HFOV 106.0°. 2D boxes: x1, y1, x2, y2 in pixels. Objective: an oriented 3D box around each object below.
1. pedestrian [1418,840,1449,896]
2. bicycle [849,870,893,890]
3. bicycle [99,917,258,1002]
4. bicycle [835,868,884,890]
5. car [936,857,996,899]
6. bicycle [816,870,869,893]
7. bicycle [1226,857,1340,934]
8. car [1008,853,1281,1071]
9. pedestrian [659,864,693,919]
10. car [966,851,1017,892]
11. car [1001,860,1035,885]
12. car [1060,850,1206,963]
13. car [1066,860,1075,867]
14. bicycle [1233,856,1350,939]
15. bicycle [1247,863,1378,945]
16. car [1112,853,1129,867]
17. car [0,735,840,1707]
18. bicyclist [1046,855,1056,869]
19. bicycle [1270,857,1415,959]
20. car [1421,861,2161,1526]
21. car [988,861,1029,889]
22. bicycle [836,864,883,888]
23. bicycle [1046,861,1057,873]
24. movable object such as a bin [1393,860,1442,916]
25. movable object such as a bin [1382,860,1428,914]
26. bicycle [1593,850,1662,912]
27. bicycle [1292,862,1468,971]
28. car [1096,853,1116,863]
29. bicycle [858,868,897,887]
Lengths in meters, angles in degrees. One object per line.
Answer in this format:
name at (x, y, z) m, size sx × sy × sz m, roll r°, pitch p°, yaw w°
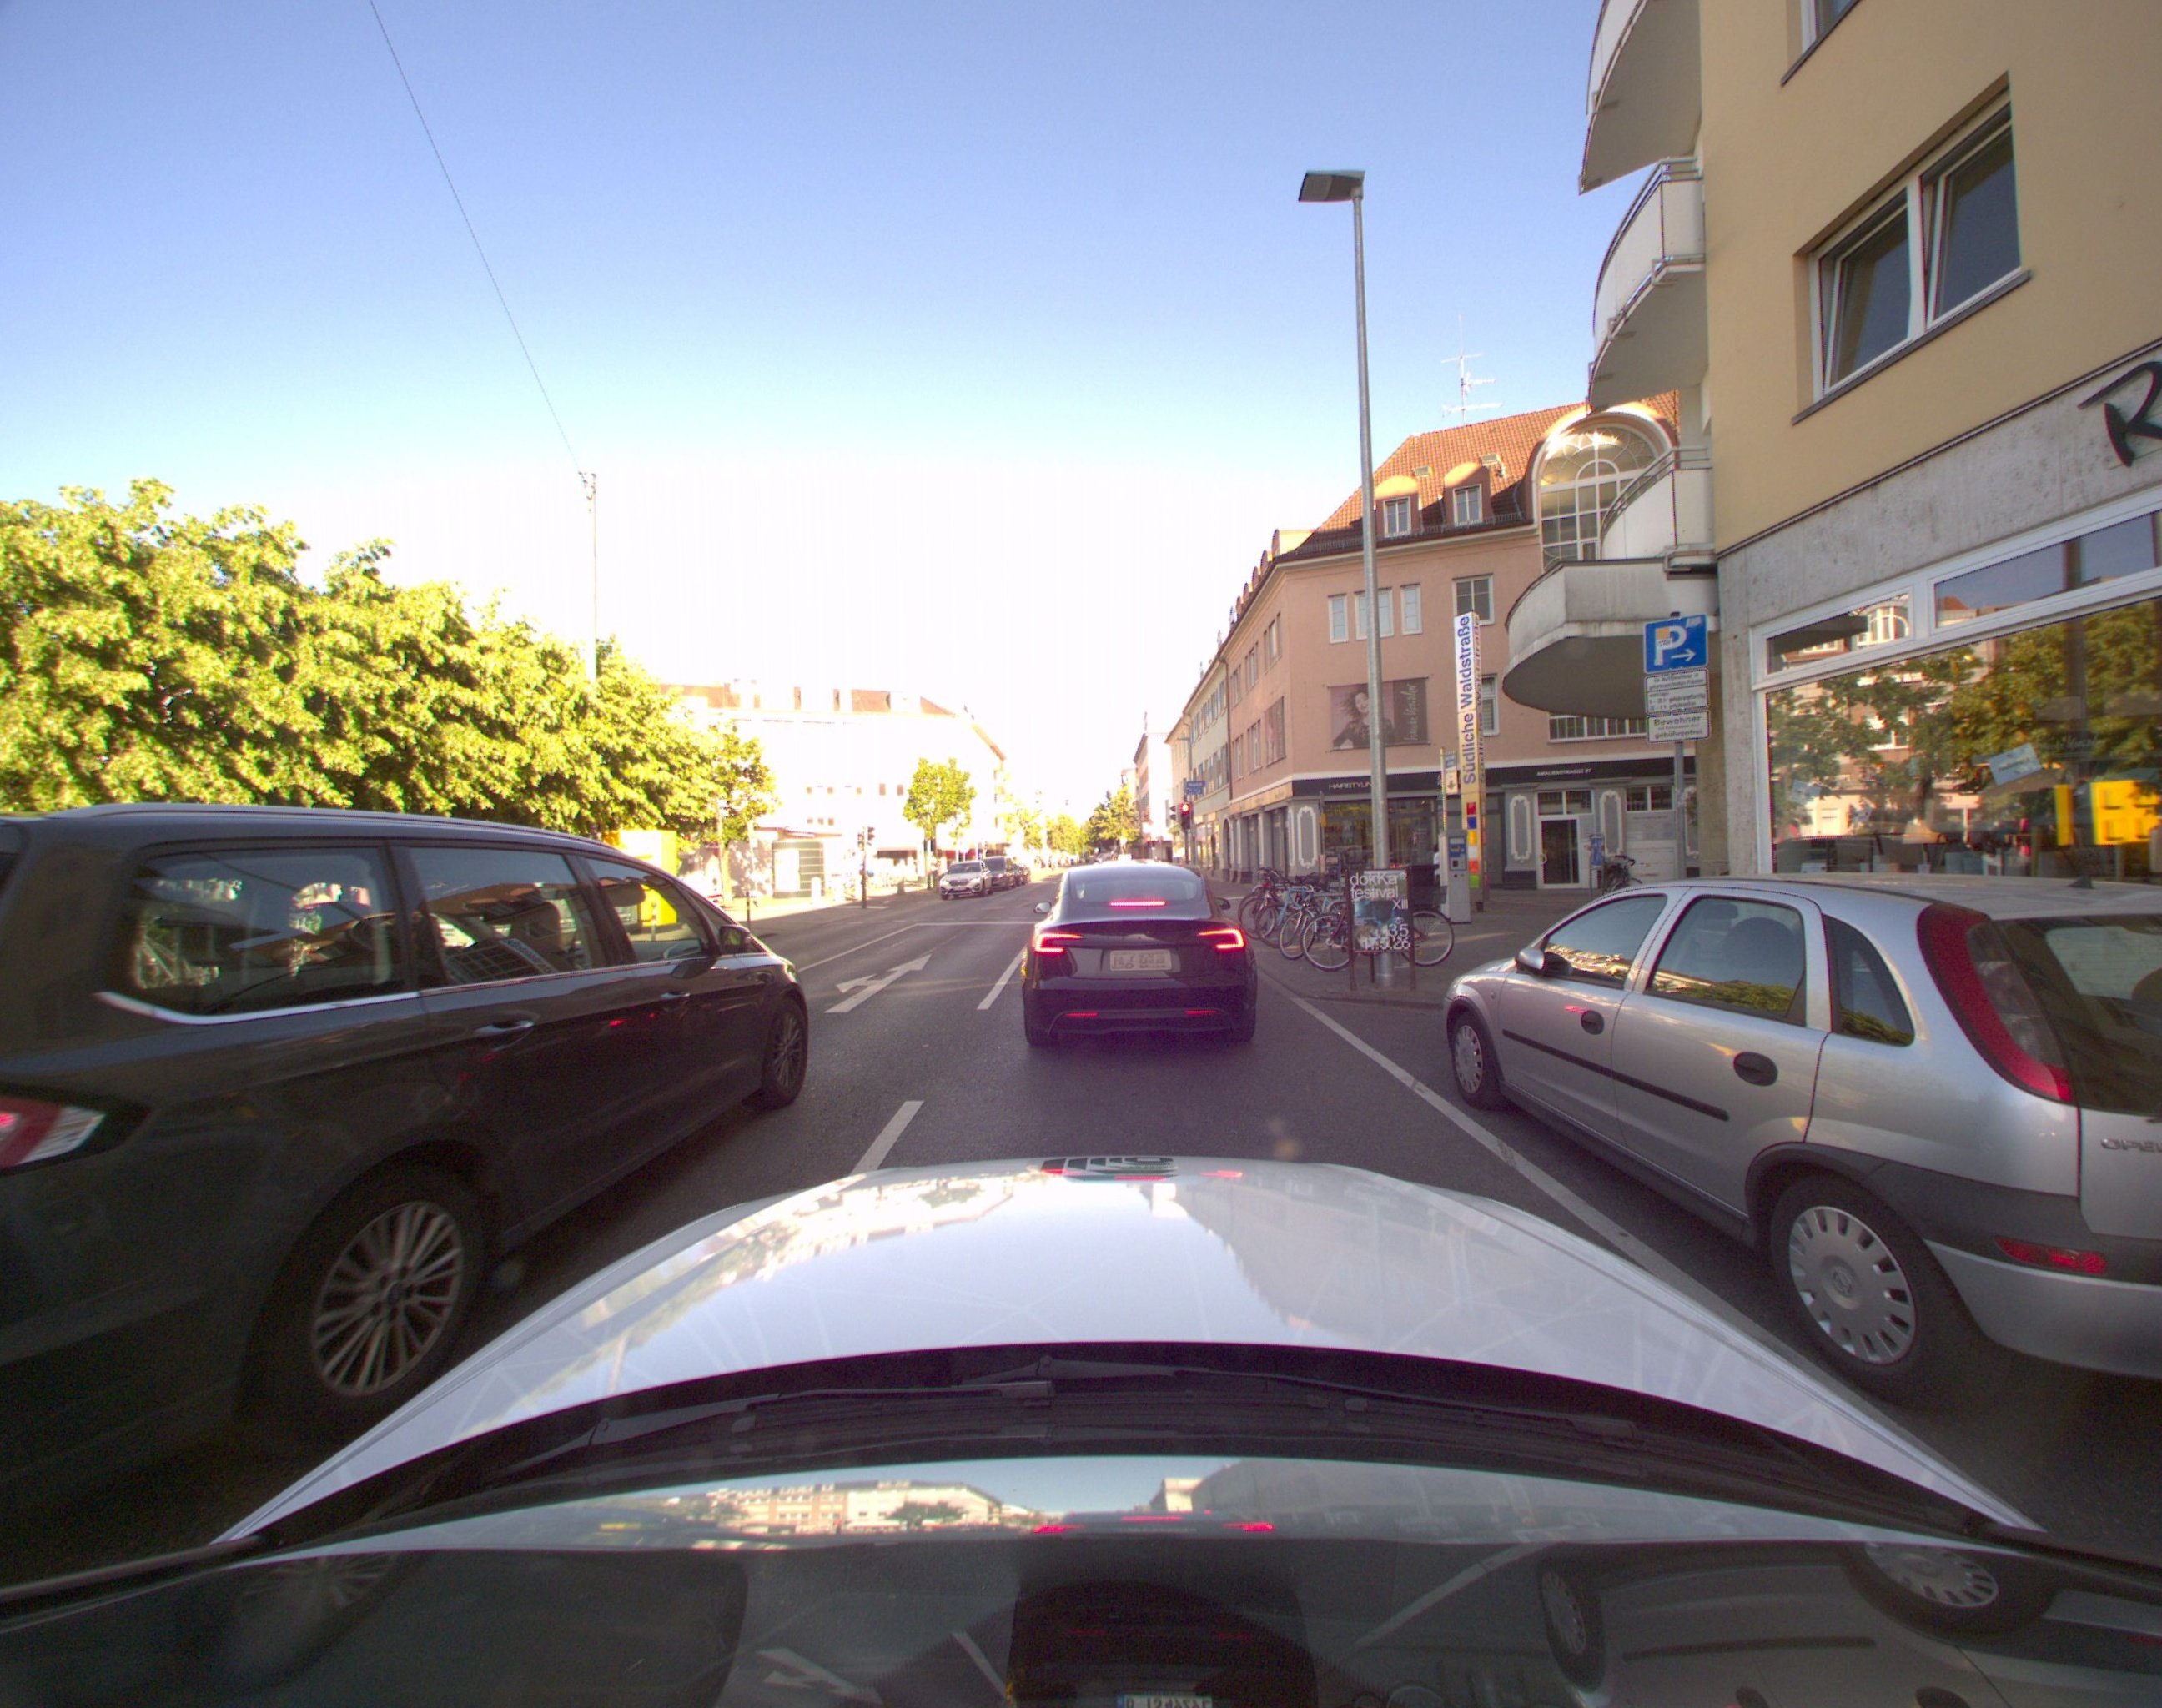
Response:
pedestrian at (9.910, 0.389, 22.871) m, size 0.740 × 1.552 × 0.703 m, roll -1°, pitch 0°, yaw 25°
bicycle at (-12.951, 1.574, 50.261) m, size 2.528 × 1.156 × 0.841 m, roll -1°, pitch 0°, yaw -4°
bicycle at (-11.457, 1.330, 10.356) m, size 1.590 × 1.018 × 0.430 m, roll -1°, pitch 0°, yaw 3°
bicycle at (-12.378, 1.368, 45.556) m, size 2.453 × 1.156 × 0.843 m, roll -1°, pitch 0°, yaw 0°
car at (-4.941, 0.991, 35.469) m, size 1.801 × 1.555 × 4.310 m, roll -5°, pitch 0°, yaw 1°
bicycle at (-12.584, 1.440, 43.026) m, size 2.497 × 1.156 × 0.843 m, roll -1°, pitch 0°, yaw 0°
bicycle at (3.619, 0.740, 14.720) m, size 1.851 × 1.258 × 0.834 m, roll -3°, pitch -1°, yaw 7°
car at (0.496, 0.758, 7.611) m, size 1.841 × 1.455 × 4.001 m, roll -2°, pitch 0°, yaw 2°
pedestrian at (-12.491, 1.152, 25.113) m, size 0.676 × 1.662 × 0.625 m, roll -2°, pitch -1°, yaw 31°
car at (-4.640, 0.868, 42.867) m, size 1.827 × 1.845 × 4.677 m, roll -5°, pitch 0°, yaw 2°
car at (-4.394, 1.260, 57.283) m, size 1.988 × 1.436 × 4.672 m, roll -5°, pitch 0°, yaw -1°
car at (0.737, 0.724, 13.319) m, size 1.987 × 1.512 × 4.175 m, roll -1°, pitch 0°, yaw 0°
car at (-2.484, 2.167, 187.376) m, size 1.988 × 1.637 × 3.998 m, roll -1°, pitch 0°, yaw -1°
bicycle at (3.504, 0.711, 13.691) m, size 1.738 × 1.267 × 0.782 m, roll -3°, pitch -1°, yaw 4°
bicycle at (3.519, 0.754, 12.511) m, size 1.788 × 1.124 × 0.783 m, roll -3°, pitch -1°, yaw 7°
car at (4.892, 0.697, 100.725) m, size 1.986 × 1.629 × 4.002 m, roll -2°, pitch 0°, yaw 2°
car at (-2.796, 0.720, 3.518) m, size 1.987 × 1.772 × 4.728 m, roll -2°, pitch 0°, yaw 1°
bicyclist at (-3.505, 0.930, 95.890) m, size 1.123 × 1.628 × 0.965 m, roll -1°, pitch 0°, yaw -1°
bicycle at (3.539, 0.726, 11.158) m, size 1.713 × 1.268 × 0.792 m, roll -3°, pitch -1°, yaw 7°
car at (2.967, 0.732, 3.529) m, size 1.607 × 1.382 × 3.645 m, roll 0°, pitch 0°, yaw 2°
car at (-4.364, 1.235, 49.686) m, size 1.988 × 1.410 × 4.672 m, roll -5°, pitch 0°, yaw -1°
bicycle at (-12.908, 1.248, 47.503) m, size 2.472 × 1.324 × 0.921 m, roll -1°, pitch 0°, yaw -4°
bicycle at (-3.479, 1.545, 95.794) m, size 1.108 × 1.344 × 3.998 m, roll -1°, pitch 0°, yaw -1°
movable object such as a bin at (6.741, 0.672, 16.348) m, size 0.749 × 1.092 × 0.628 m, roll 0°, pitch -1°, yaw 3°
movable object such as a bin at (6.749, 0.677, 16.986) m, size 0.730 × 1.092 × 0.628 m, roll 0°, pitch -1°, yaw 3°
bicycle at (11.148, 0.519, 16.677) m, size 0.653 × 1.199 × 2.223 m, roll -2°, pitch 0°, yaw 21°
bicycle at (3.635, 0.752, 10.023) m, size 1.876 × 1.193 × 0.693 m, roll -3°, pitch 0°, yaw 7°
car at (5.121, 0.853, 167.680) m, size 3.974 × 2.013 × 2.000 m, roll -1°, pitch 0°, yaw 0°
bicycle at (-13.167, 1.519, 52.696) m, size 2.318 × 1.156 × 0.841 m, roll -1°, pitch 0°, yaw -4°
